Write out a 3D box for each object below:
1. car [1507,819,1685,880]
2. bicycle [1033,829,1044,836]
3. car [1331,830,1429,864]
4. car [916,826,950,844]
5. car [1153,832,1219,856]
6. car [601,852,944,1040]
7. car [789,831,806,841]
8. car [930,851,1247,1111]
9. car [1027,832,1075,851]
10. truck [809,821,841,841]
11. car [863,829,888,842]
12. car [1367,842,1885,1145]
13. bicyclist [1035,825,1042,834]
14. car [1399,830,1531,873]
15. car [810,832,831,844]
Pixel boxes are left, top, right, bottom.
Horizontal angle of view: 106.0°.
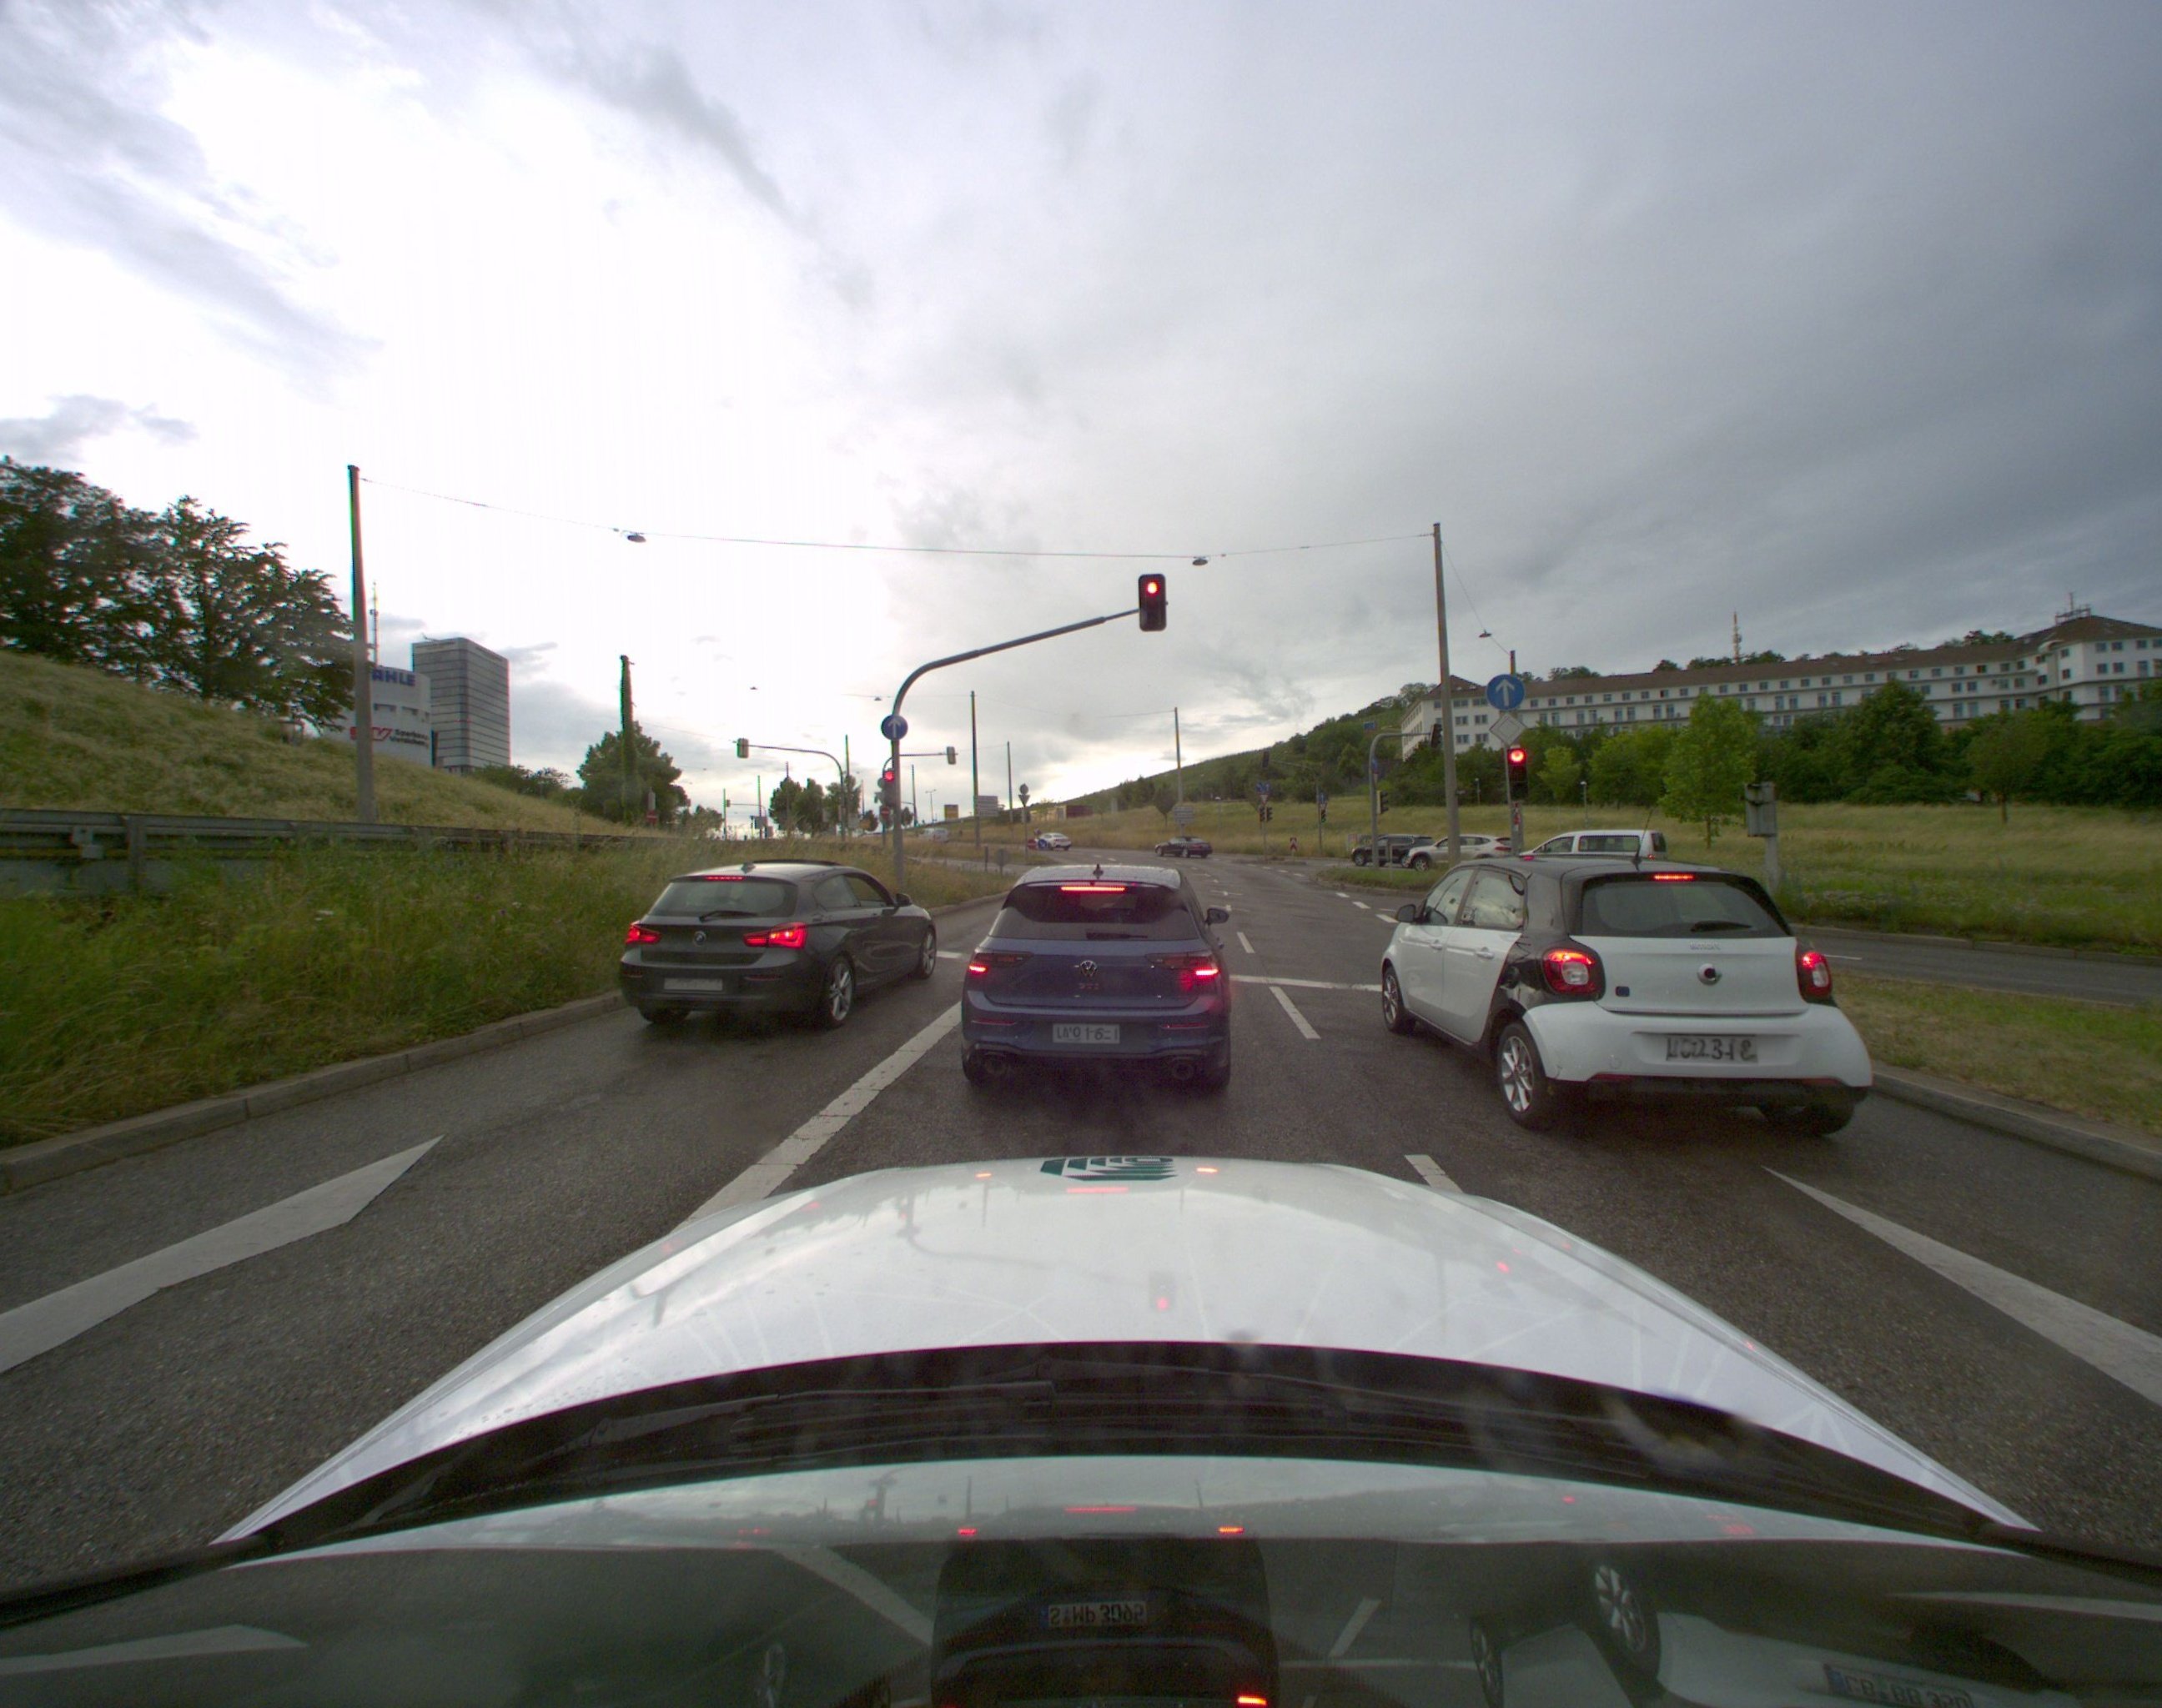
[{"bbox_3d":[16.998,-0.099,27.097,1.830,1.850,4.645,0,-1,-37],"label":"car"},{"bbox_3d":[-5.060,-2.569,96.288,0.522,0.775,1.604,2,0,-35],"label":"bicycle"},{"bbox_3d":[15.276,-0.321,41.839,2.008,1.637,4.373,0,-1,-35],"label":"car"},{"bbox_3d":[-16.692,-2.149,91.918,2.144,1.794,4.692,0,-1,-33],"label":"car"},{"bbox_3d":[7.071,-0.628,55.177,2.008,1.477,4.455,0,-1,-33],"label":"car"},{"bbox_3d":[-2.788,0.759,8.457,1.694,1.460,4.119,-1,-1,5],"label":"car"},{"bbox_3d":[-52.718,-3.314,151.300,2.008,1.659,4.498,1,0,-33],"label":"car"},{"bbox_3d":[0.220,0.723,6.587,1.816,1.460,3.814,-1,0,6],"label":"car"},{"bbox_3d":[-2.587,-1.013,69.458,2.008,1.477,4.373,0,-1,-35],"label":"car"},{"bbox_3d":[-42.519,-3.830,135.293,3.281,3.074,6.111,2,0,-35],"label":"truck"},{"bbox_3d":[-28.336,-2.532,112.279,2.008,1.659,4.497,0,-1,-33],"label":"car"},{"bbox_3d":[3.332,0.721,5.835,1.649,1.503,3.456,-1,-1,6],"label":"car"},{"bbox_3d":[-5.031,-2.918,96.279,0.527,1.046,0.574,2,0,-36],"label":"bicyclist"},{"bbox_3d":[15.713,-0.053,33.474,2.010,1.620,4.472,0,-1,-39],"label":"car"},{"bbox_3d":[-40.167,-2.487,125.725,2.008,1.659,4.308,0,-1,-33],"label":"car"}]
